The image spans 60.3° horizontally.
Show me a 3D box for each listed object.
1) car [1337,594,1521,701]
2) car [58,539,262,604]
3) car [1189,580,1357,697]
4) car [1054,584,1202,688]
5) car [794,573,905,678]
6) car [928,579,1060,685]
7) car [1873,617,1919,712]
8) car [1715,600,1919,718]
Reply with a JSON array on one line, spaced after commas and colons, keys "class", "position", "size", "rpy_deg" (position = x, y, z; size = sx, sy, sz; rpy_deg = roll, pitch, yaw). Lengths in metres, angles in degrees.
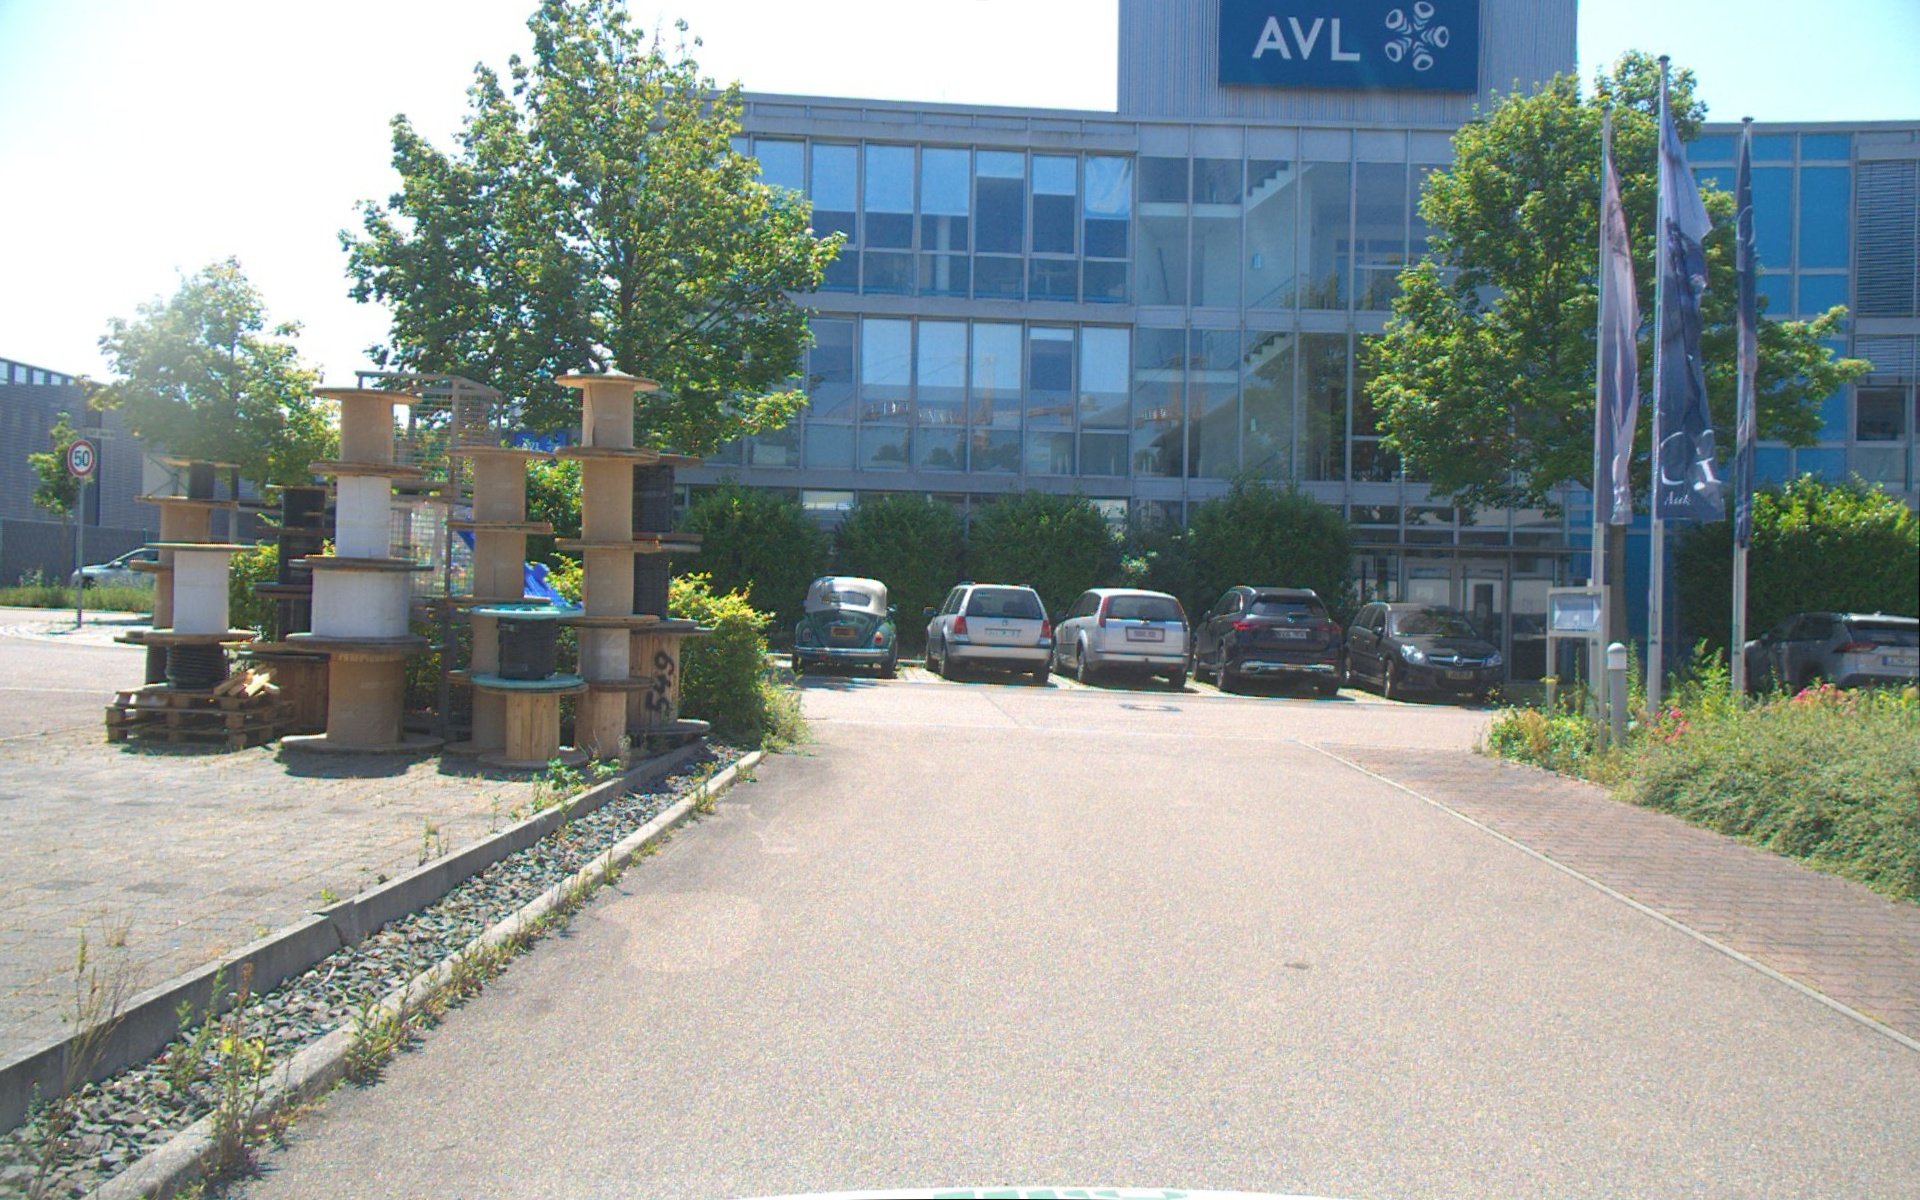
[{"class": "car", "position": [7.543, 0.707, 27.021], "size": [1.734, 1.507, 4.258], "rpy_deg": [2, 1, 0]}, {"class": "car", "position": [-21.459, -0.765, 44.403], "size": [4.736, 1.517, 2.002], "rpy_deg": [3, 1, 15]}, {"class": "car", "position": [4.990, 0.557, 26.914], "size": [1.888, 1.638, 3.986], "rpy_deg": [3, 1, 0]}, {"class": "car", "position": [2.684, 0.542, 27.178], "size": [1.731, 1.474, 3.651], "rpy_deg": [3, 1, -5]}, {"class": "car", "position": [-1.693, 0.346, 26.292], "size": [1.510, 1.474, 3.653], "rpy_deg": [3, 1, -1]}, {"class": "car", "position": [0.477, 0.453, 26.548], "size": [1.698, 1.474, 3.651], "rpy_deg": [3, 1, -5]}, {"class": "car", "position": [16.700, 1.140, 26.477], "size": [1.700, 1.517, 4.339], "rpy_deg": [3, 1, 0]}, {"class": "car", "position": [14.194, 0.894, 26.903], "size": [1.782, 1.648, 4.339], "rpy_deg": [2, 1, 0]}]
